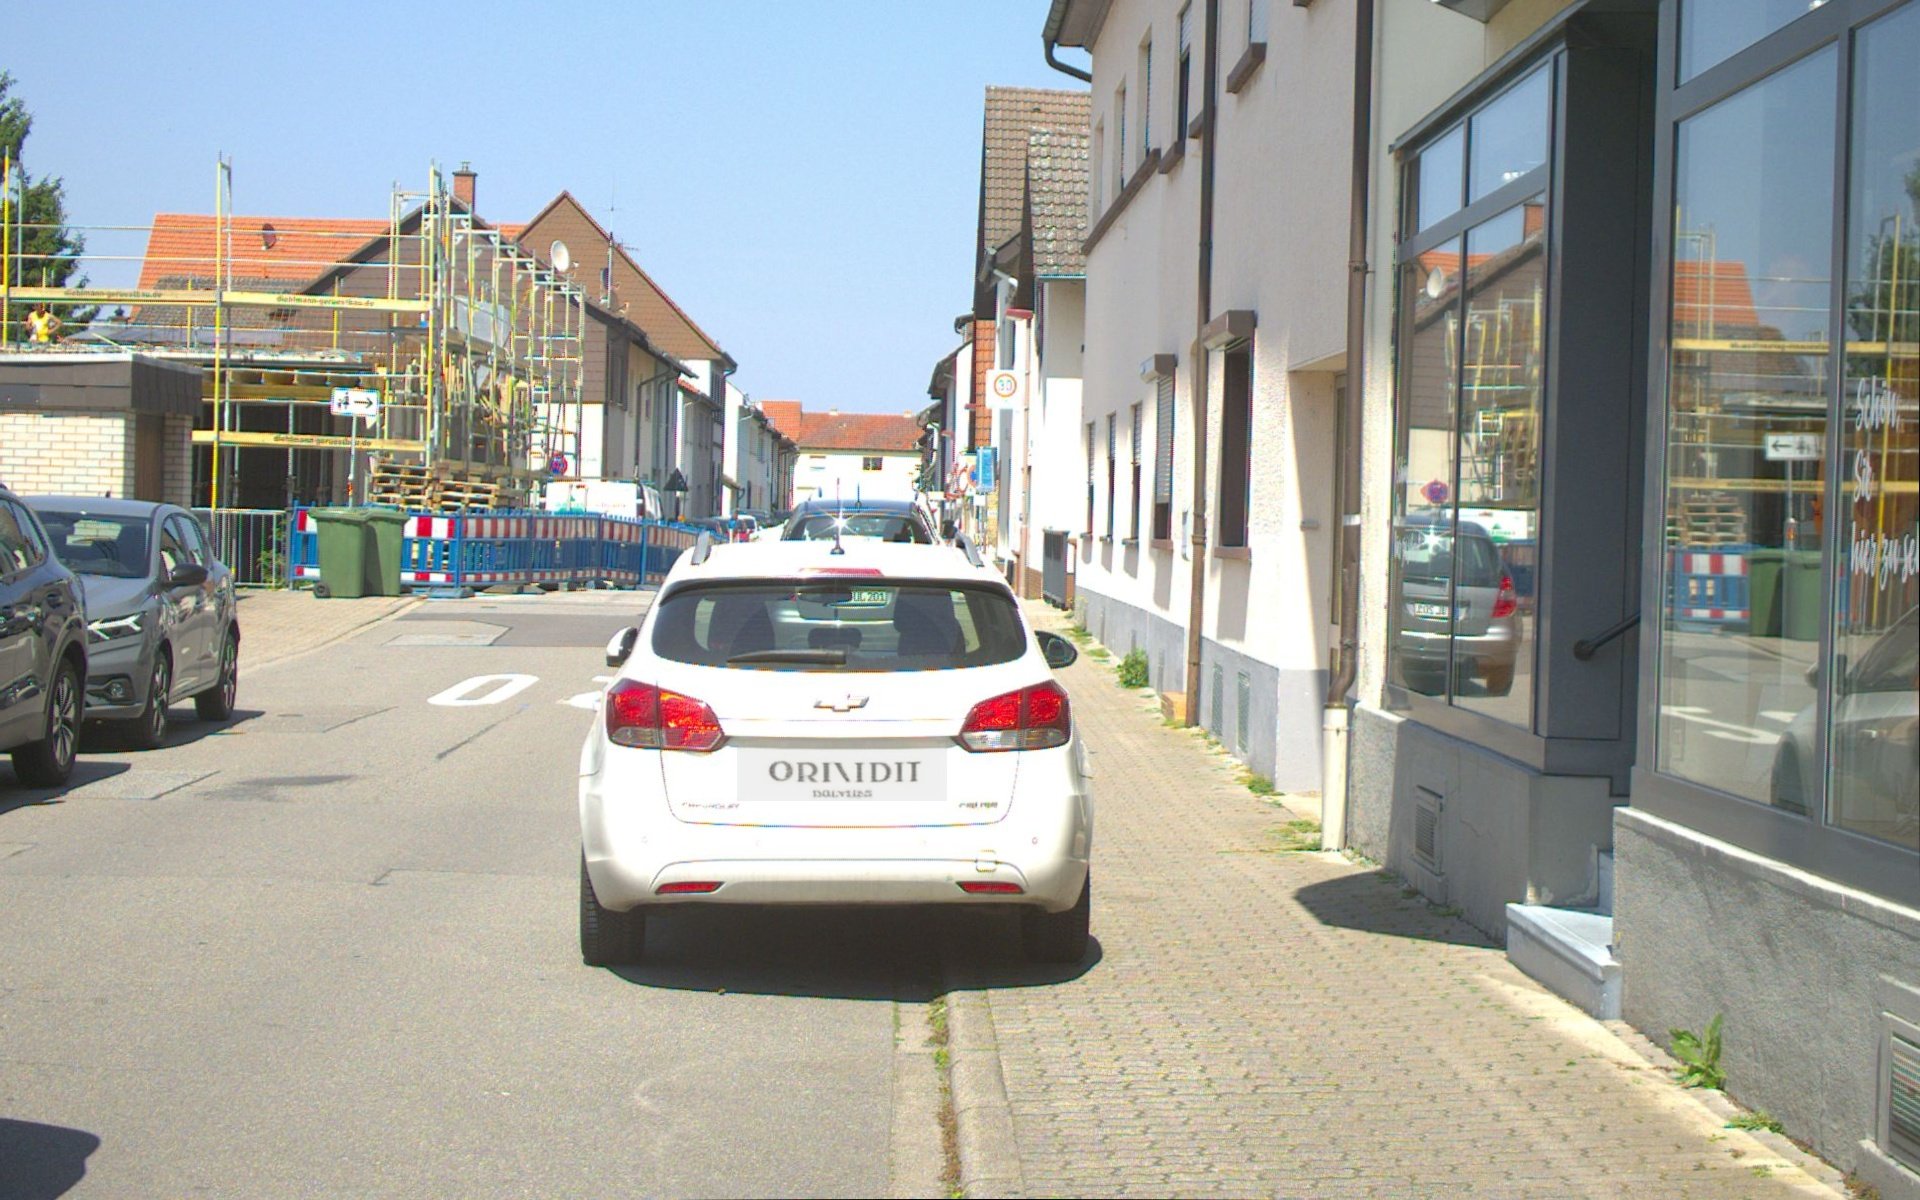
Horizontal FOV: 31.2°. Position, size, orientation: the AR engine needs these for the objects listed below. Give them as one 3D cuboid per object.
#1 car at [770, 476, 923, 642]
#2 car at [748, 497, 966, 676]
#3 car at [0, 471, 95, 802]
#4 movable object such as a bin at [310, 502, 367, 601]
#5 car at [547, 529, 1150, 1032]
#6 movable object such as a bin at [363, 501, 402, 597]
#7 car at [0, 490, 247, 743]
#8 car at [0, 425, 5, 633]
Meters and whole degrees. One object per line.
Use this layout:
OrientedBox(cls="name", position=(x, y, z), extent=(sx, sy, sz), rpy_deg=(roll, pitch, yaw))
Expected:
OrientedBox(cls="car", position=(-1.243, -0.495, 38.084), extent=(1.564, 1.607, 3.543), rpy_deg=(2, 4, -2))
OrientedBox(cls="car", position=(-1.047, -0.183, 32.911), extent=(1.884, 1.550, 3.895), rpy_deg=(-2, 2, -4))
OrientedBox(cls="car", position=(-5.594, 0.156, 16.693), extent=(1.826, 1.625, 4.218), rpy_deg=(2, 1, -2))
OrientedBox(cls="movable object such as a bin", position=(-7.468, -0.586, 41.328), extent=(0.621, 1.151, 0.677), rpy_deg=(2, 2, -8))
OrientedBox(cls="car", position=(-0.535, 0.542, 13.122), extent=(1.886, 1.536, 4.244), rpy_deg=(2, 1, -5))
OrientedBox(cls="movable object such as a bin", position=(-7.020, -0.623, 41.815), extent=(0.431, 1.151, 0.364), rpy_deg=(1, 2, -11))
OrientedBox(cls="car", position=(-5.637, 0.054, 22.119), extent=(1.436, 1.469, 3.787), rpy_deg=(1, 1, -2))
OrientedBox(cls="car", position=(-3.038, 0.476, 5.376), extent=(1.881, 1.662, 4.154), rpy_deg=(2, 1, 0))
